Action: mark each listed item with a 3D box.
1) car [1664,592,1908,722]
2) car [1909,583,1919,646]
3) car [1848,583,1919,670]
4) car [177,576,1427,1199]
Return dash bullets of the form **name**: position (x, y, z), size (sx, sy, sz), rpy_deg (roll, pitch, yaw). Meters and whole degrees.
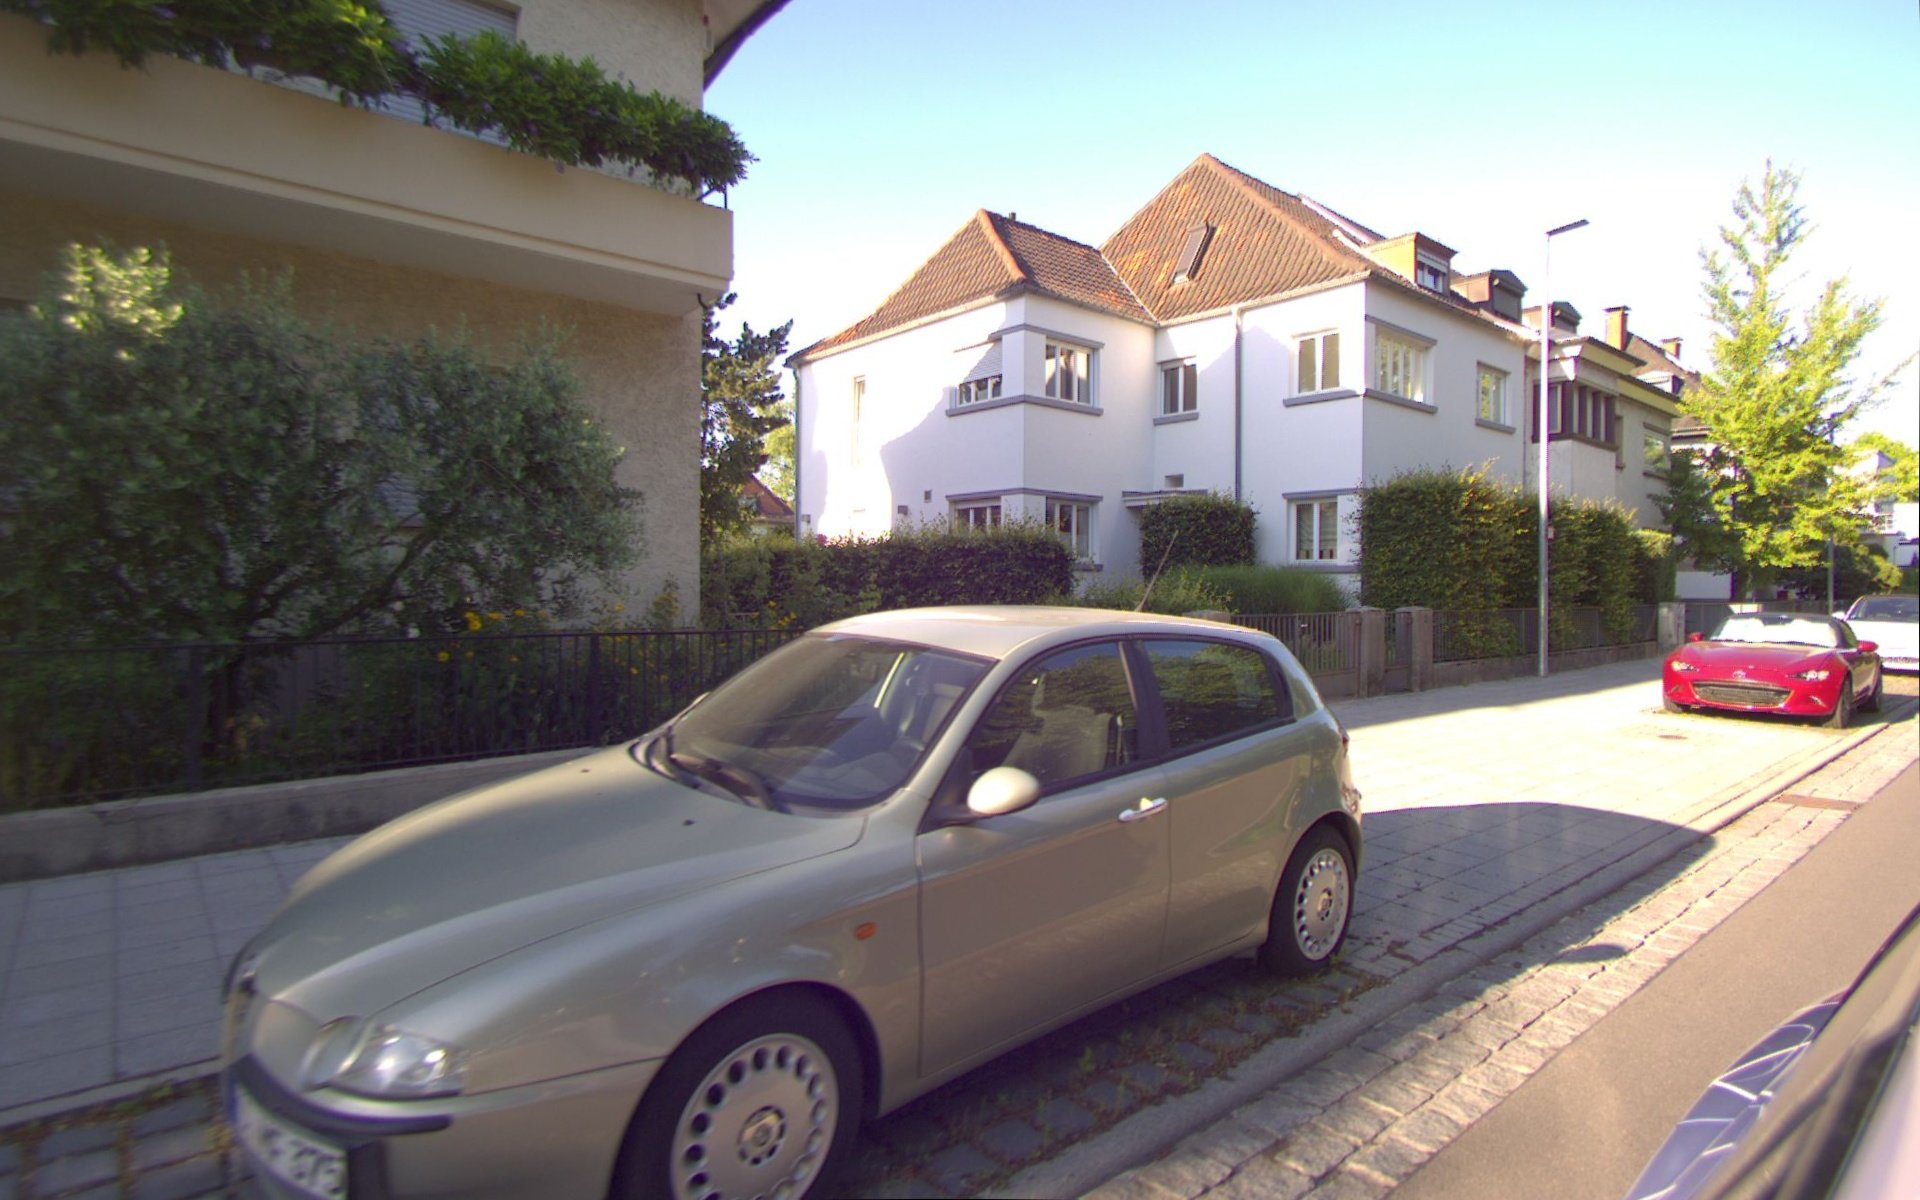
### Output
- **car**: position (10.326, 0.590, 12.569), size (3.812, 1.273, 1.702), rpy_deg (-1, 2, -41)
- **car**: position (24.804, 0.334, 24.917), size (3.987, 1.499, 1.744), rpy_deg (0, 1, -42)
- **car**: position (18.012, 0.452, 18.978), size (3.431, 1.498, 1.508), rpy_deg (0, 2, -40)
- **car**: position (-0.184, 0.663, 3.568), size (4.007, 1.397, 1.798), rpy_deg (0, 3, -41)
